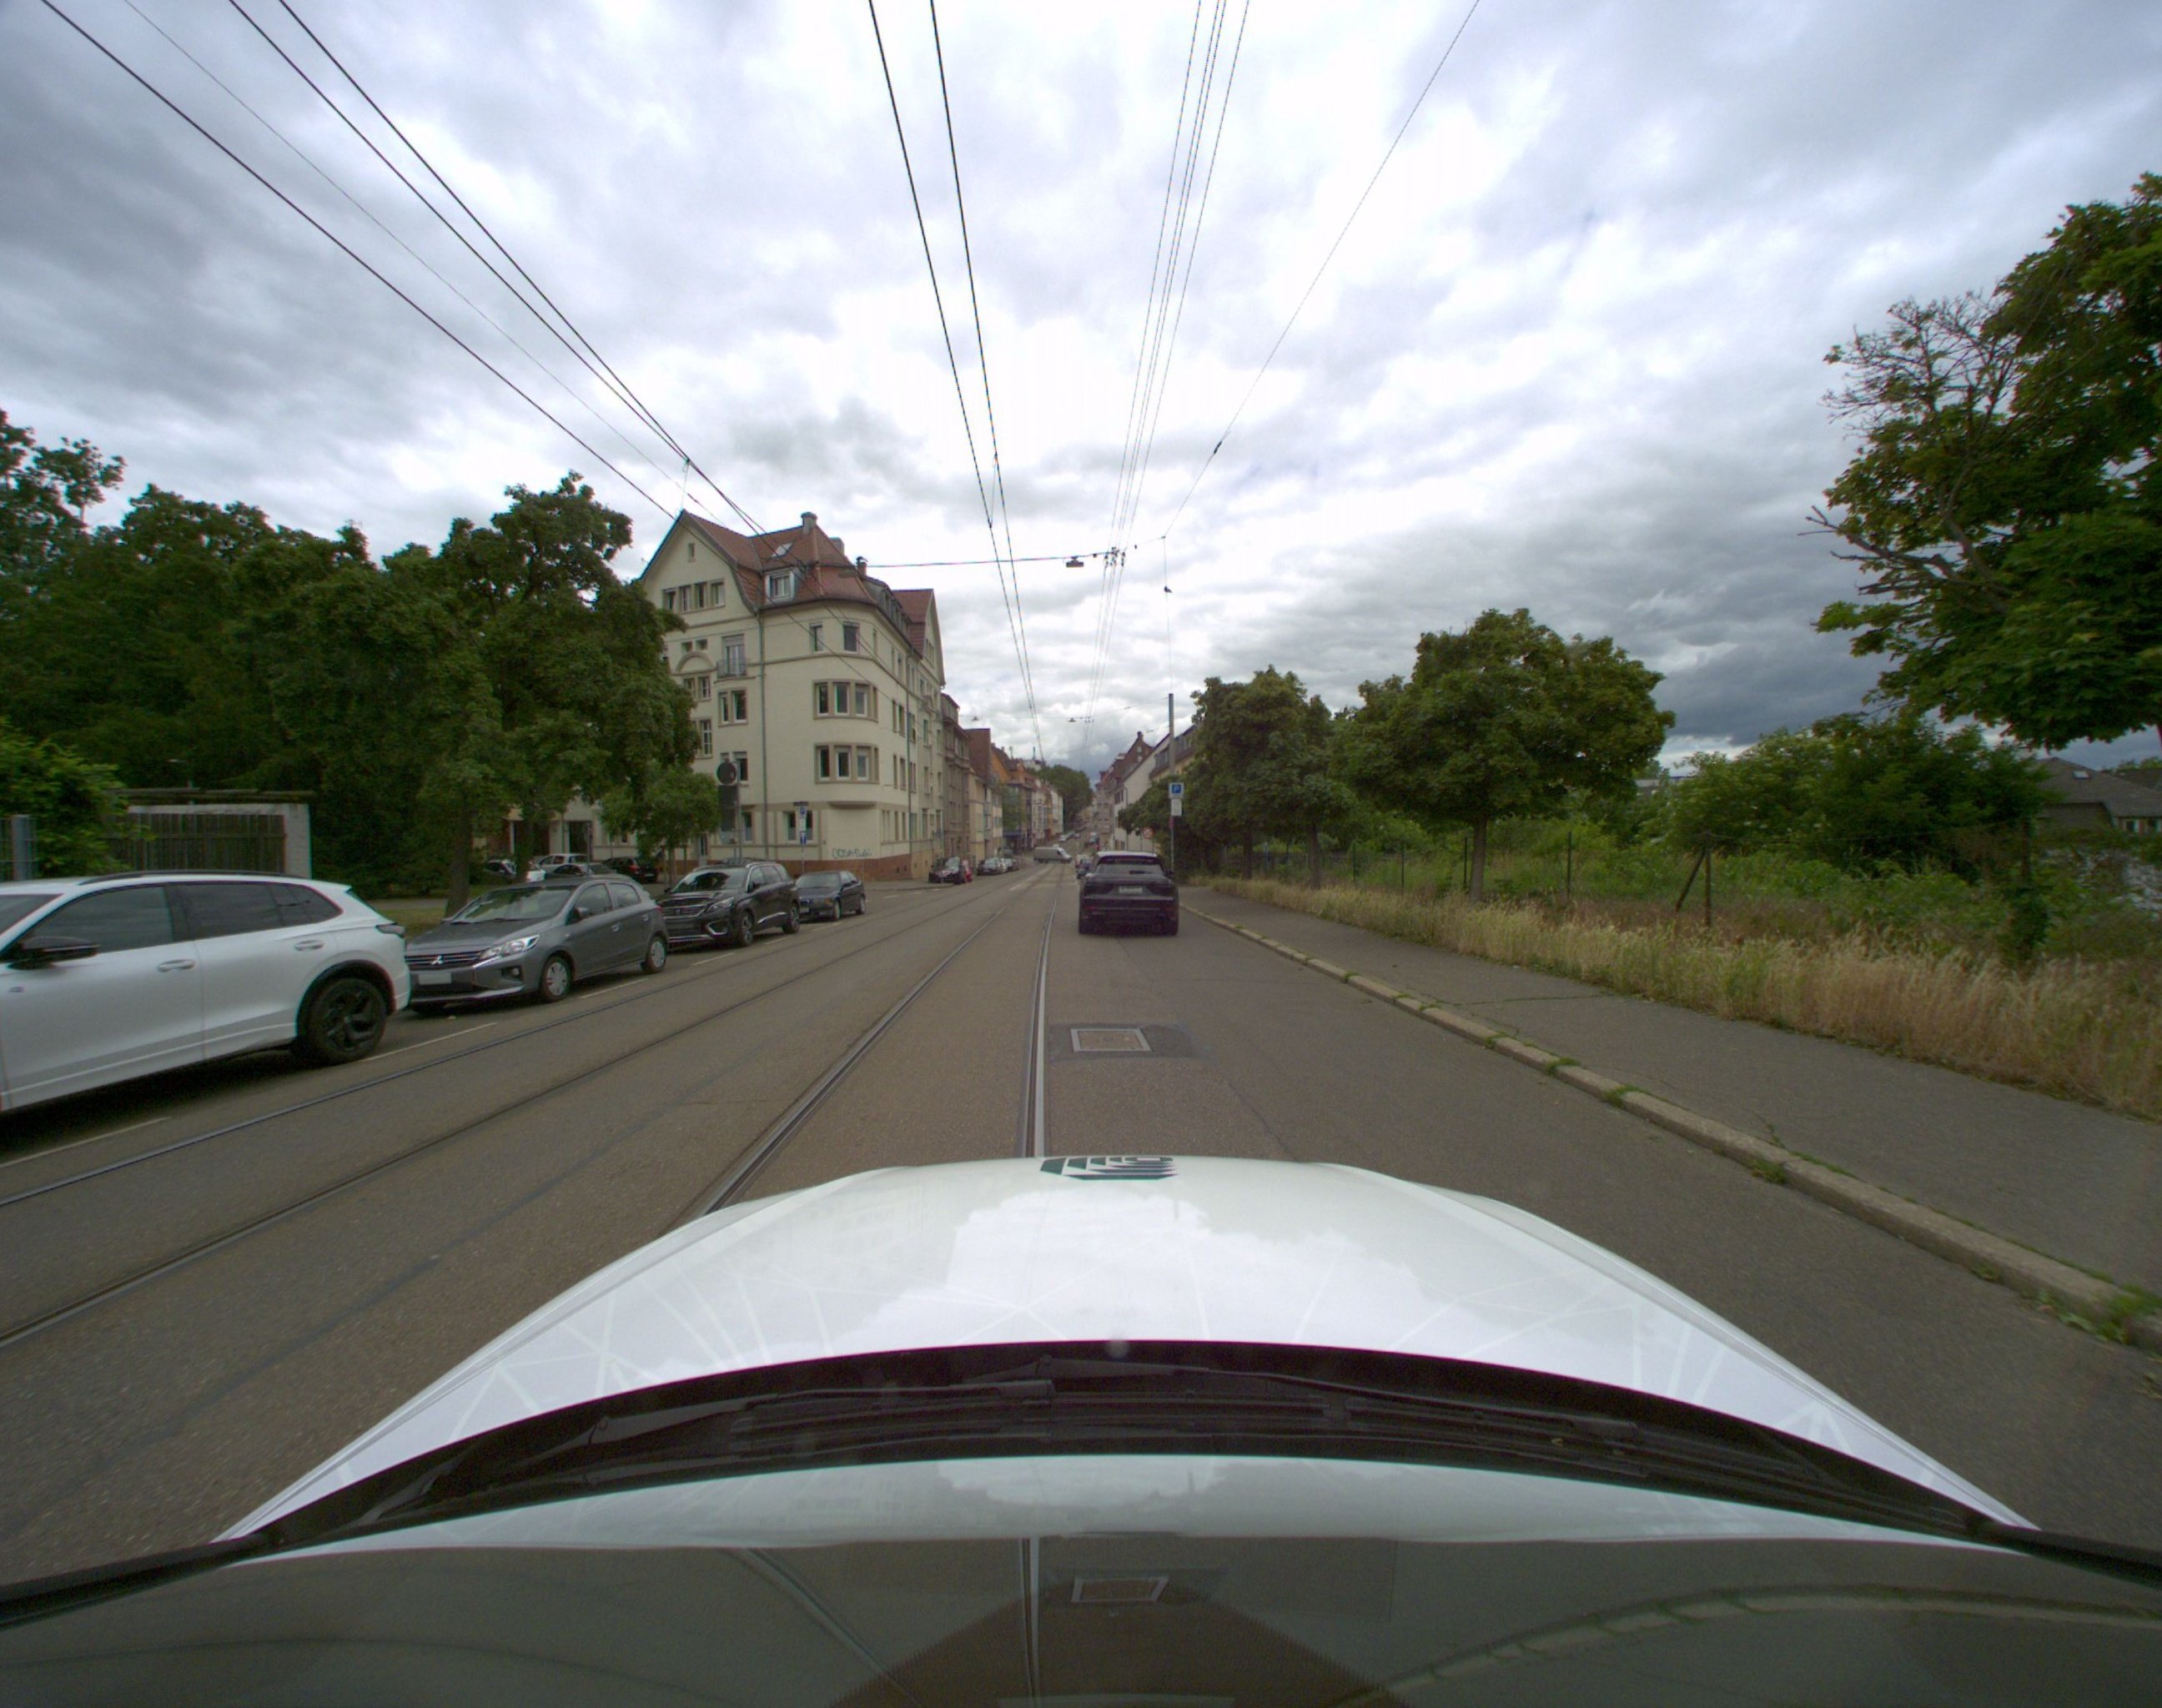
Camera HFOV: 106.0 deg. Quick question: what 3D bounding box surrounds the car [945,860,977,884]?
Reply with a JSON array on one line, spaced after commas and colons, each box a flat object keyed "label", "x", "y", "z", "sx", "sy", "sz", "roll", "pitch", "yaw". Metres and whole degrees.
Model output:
[{"label": "car", "x": -7.988, "y": 1.210, "z": 54.400, "sx": 1.616, "sy": 1.463, "sz": 3.742, "roll": -2, "pitch": -1, "yaw": -2}]

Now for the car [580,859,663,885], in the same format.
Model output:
[{"label": "car", "x": -24.653, "y": 0.969, "z": 43.712, "sx": 3.950, "sy": 1.354, "sz": 1.887, "roll": -1, "pitch": -1, "yaw": 25}]

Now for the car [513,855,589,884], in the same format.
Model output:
[{"label": "car", "x": -29.888, "y": 0.858, "z": 45.923, "sx": 3.950, "sy": 1.544, "sz": 1.771, "roll": -1, "pitch": -1, "yaw": 25}]

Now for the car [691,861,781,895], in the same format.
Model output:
[{"label": "car", "x": -17.065, "y": 1.182, "z": 40.299, "sx": 3.950, "sy": 1.572, "sz": 1.887, "roll": -1, "pitch": -1, "yaw": 25}]

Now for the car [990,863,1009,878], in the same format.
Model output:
[{"label": "car", "x": -8.397, "y": 1.720, "z": 83.983, "sx": 1.616, "sy": 1.463, "sz": 3.681, "roll": -2, "pitch": -1, "yaw": -2}]

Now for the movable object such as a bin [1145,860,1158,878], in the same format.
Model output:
[{"label": "movable object such as a bin", "x": 4.942, "y": 1.043, "z": 57.160, "sx": 0.790, "sy": 1.218, "sz": 0.788, "roll": -1, "pitch": -1, "yaw": -5}]

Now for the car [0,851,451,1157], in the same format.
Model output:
[{"label": "car", "x": -7.002, "y": 0.882, "z": 5.509, "sx": 1.964, "sy": 1.686, "sz": 4.629, "roll": -2, "pitch": -1, "yaw": -2}]

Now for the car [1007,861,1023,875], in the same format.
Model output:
[{"label": "car", "x": -7.468, "y": 1.599, "z": 92.389, "sx": 1.616, "sy": 1.474, "sz": 4.551, "roll": -2, "pitch": -1, "yaw": -2}]

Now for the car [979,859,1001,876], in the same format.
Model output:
[{"label": "car", "x": -8.174, "y": 1.204, "z": 73.052, "sx": 1.616, "sy": 1.463, "sz": 4.029, "roll": -2, "pitch": -1, "yaw": -2}]

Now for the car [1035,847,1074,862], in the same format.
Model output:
[{"label": "car", "x": -4.496, "y": 0.071, "z": 137.568, "sx": 6.221, "sy": 2.290, "sz": 2.215, "roll": -1, "pitch": -1, "yaw": 27}]

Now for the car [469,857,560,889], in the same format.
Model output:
[{"label": "car", "x": -26.720, "y": 0.895, "z": 38.393, "sx": 3.950, "sy": 1.419, "sz": 1.771, "roll": -1, "pitch": -1, "yaw": 25}]

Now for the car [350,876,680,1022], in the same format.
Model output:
[{"label": "car", "x": -7.095, "y": 1.078, "z": 10.776, "sx": 1.734, "sy": 1.509, "sz": 3.865, "roll": -2, "pitch": -1, "yaw": -2}]

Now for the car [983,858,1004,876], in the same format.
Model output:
[{"label": "car", "x": -8.318, "y": 1.285, "z": 77.874, "sx": 1.616, "sy": 1.604, "sz": 4.347, "roll": -2, "pitch": -1, "yaw": -2}]

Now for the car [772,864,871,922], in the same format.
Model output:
[{"label": "car", "x": -7.369, "y": 1.064, "z": 23.488, "sx": 1.616, "sy": 1.477, "sz": 4.152, "roll": -2, "pitch": -1, "yaw": -2}]

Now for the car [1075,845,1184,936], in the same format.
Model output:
[{"label": "car", "x": 0.891, "y": 0.704, "z": 17.304, "sx": 1.988, "sy": 1.676, "sz": 3.998, "roll": -1, "pitch": -1, "yaw": -1}]

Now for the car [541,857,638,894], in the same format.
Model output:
[{"label": "car", "x": -21.824, "y": 0.929, "z": 36.188, "sx": 3.951, "sy": 1.439, "sz": 1.771, "roll": 1, "pitch": 1, "yaw": 25}]

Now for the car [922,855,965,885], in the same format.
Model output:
[{"label": "car", "x": -8.071, "y": 0.965, "z": 48.137, "sx": 1.863, "sy": 1.646, "sz": 4.398, "roll": -2, "pitch": -1, "yaw": -2}]

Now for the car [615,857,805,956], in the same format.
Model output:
[{"label": "car", "x": -7.367, "y": 0.987, "z": 16.732, "sx": 1.964, "sy": 1.686, "sz": 4.440, "roll": -2, "pitch": -1, "yaw": -2}]
